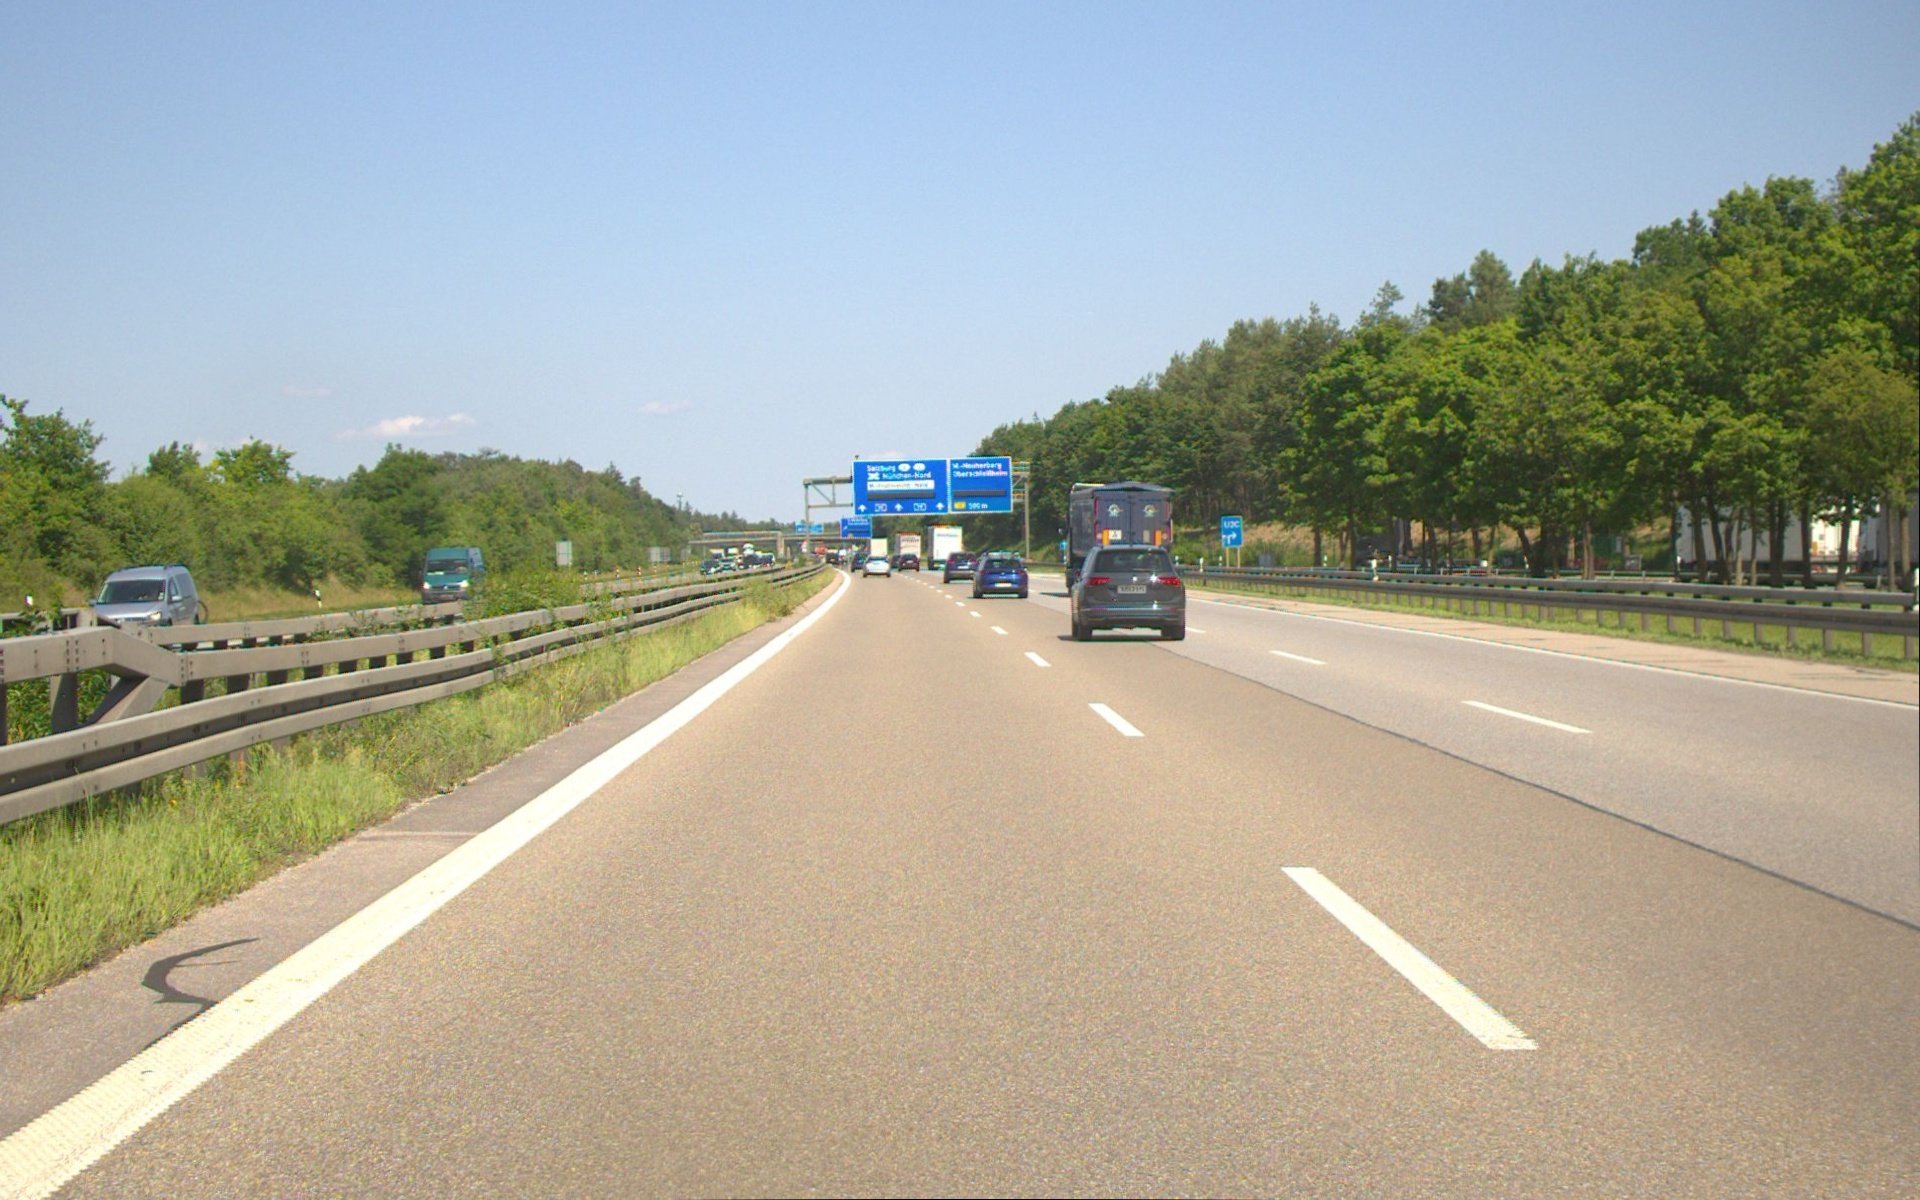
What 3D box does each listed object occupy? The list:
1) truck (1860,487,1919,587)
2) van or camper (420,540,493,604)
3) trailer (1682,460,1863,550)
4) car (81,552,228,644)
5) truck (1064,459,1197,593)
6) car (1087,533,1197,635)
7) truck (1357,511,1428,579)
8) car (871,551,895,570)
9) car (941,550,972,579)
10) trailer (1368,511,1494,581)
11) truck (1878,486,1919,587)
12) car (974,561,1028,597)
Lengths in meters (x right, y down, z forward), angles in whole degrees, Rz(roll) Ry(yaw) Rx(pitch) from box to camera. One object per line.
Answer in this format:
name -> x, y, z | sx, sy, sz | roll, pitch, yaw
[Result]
truck -> 38.188, -2.498, 137.079 | 2.970, 3.917, 4.834 | -1, 1, -5
van or camper -> -19.839, -1.137, 135.624 | 1.993, 2.384, 6.241 | -2, 1, -1
trailer -> 35.836, -4.102, 152.404 | 2.857, 3.783, 14.193 | 0, 1, -8
car -> -17.726, -0.077, 75.903 | 1.993, 1.829, 5.334 | -3, 1, -1
truck -> 5.857, -2.567, 120.808 | 3.780, 4.407, 14.051 | 0, 1, -1
car -> 3.091, -0.312, 59.122 | 1.799, 1.663, 4.258 | 0, 1, 2
truck -> 25.463, -3.237, 202.704 | 2.571, 3.901, 4.867 | -1, 1, -14
car -> -4.944, -2.530, 220.347 | 1.471, 1.223, 3.410 | -1, 1, -1
car -> -0.194, -1.800, 174.692 | 1.471, 1.393, 3.410 | 2, 1, -1
trailer -> 26.897, -3.078, 196.956 | 2.571, 3.901, 12.753 | -1, 1, -14
truck -> 38.828, -2.433, 130.245 | 2.995, 3.917, 14.463 | -1, 1, -5
car -> 1.369, -0.711, 115.537 | 1.709, 1.151, 3.689 | -1, 1, -1
